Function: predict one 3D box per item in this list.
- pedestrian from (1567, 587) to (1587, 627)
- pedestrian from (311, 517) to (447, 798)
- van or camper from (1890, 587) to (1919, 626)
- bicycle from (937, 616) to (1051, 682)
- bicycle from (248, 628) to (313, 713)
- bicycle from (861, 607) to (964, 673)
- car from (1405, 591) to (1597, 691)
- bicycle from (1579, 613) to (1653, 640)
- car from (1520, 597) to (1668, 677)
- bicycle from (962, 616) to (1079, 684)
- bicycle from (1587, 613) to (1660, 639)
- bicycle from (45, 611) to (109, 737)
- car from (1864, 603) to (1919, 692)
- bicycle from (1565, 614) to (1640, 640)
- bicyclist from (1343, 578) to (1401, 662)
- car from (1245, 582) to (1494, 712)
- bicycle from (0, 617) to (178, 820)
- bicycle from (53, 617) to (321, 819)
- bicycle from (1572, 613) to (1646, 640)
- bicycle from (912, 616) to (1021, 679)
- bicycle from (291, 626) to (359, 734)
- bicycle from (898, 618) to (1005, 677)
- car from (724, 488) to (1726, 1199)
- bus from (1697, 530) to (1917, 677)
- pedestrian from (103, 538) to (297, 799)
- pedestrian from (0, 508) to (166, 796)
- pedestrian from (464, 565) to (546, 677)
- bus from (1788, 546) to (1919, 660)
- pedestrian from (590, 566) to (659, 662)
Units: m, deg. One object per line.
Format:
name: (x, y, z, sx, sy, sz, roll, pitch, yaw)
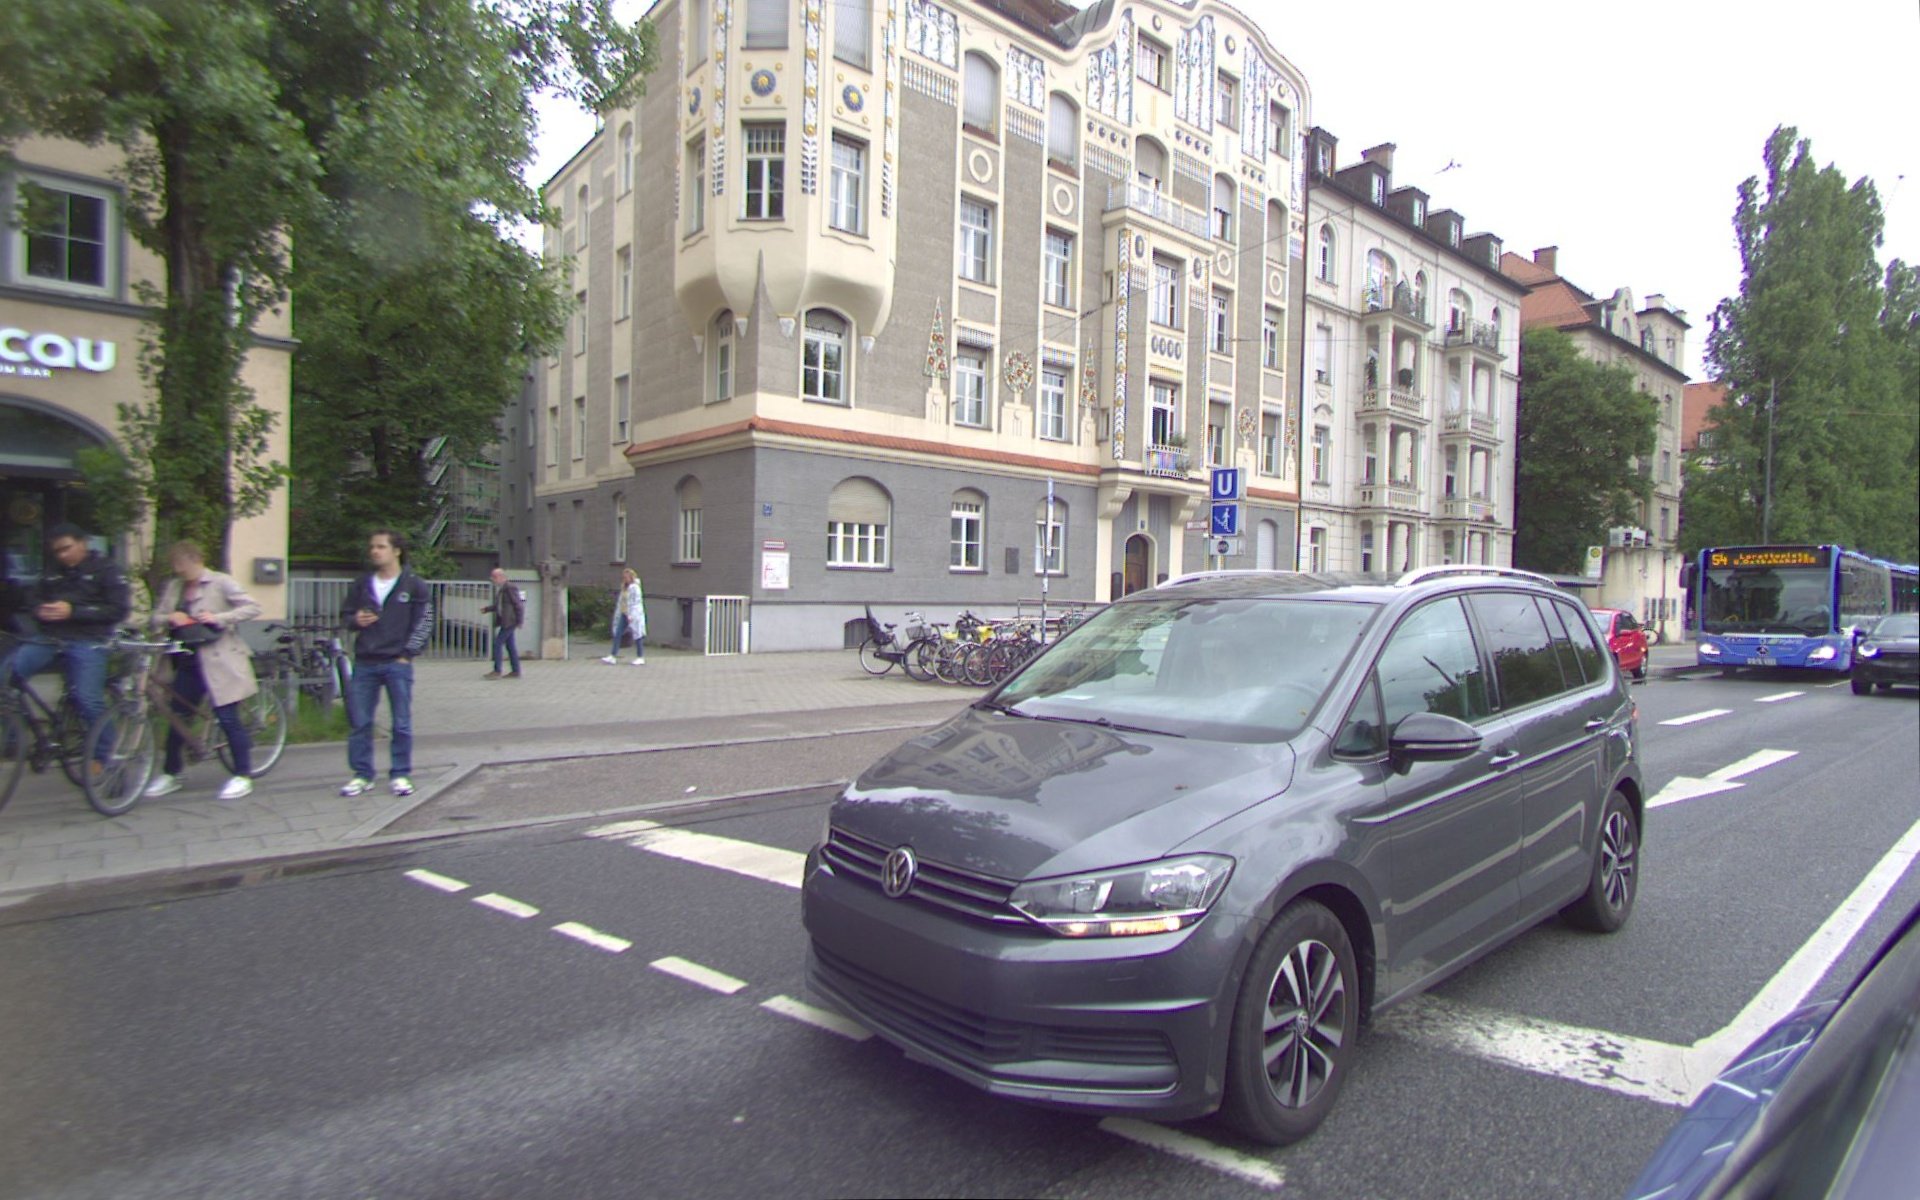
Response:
pedestrian: (29.697, 0.333, 48.689, 0.661, 1.919, 0.609, 1, 1, -38)
pedestrian: (-4.082, 0.373, 7.137, 0.741, 1.824, 0.883, 2, 0, -30)
van or camper: (54.539, 0.354, 57.394, 5.419, 2.125, 2.122, 0, 1, -42)
bicycle: (0.556, 0.789, 16.609, 1.801, 1.036, 0.447, 0, 0, -14)
bicycle: (-7.732, 0.771, 11.493, 0.385, 0.845, 1.574, 0, 1, -42)
bicycle: (-0.874, 0.726, 18.758, 1.855, 1.169, 0.464, 0, 0, 8)
car: (10.047, 0.685, 18.699, 3.895, 1.596, 1.730, 0, 2, -39)
bicycle: (25.263, 1.007, 39.008, 0.590, 0.933, 2.319, 0, 0, -43)
car: (13.723, 0.733, 21.829, 3.678, 1.527, 1.729, 0, 2, -42)
bicycle: (0.961, 0.786, 16.123, 1.801, 1.036, 0.447, 0, 0, -14)
bicycle: (25.941, 1.008, 39.585, 0.590, 0.933, 2.319, 0, 0, -43)
bicycle: (-8.339, 0.656, 9.583, 0.385, 1.063, 1.575, 0, 0, -39)
car: (18.053, 0.811, 18.511, 3.901, 1.523, 1.778, 0, -1, -41)
bicycle: (24.225, 1.005, 38.173, 0.590, 0.933, 2.319, 0, 0, -43)
bicyclist: (8.198, 0.378, 20.144, 0.923, 1.623, 0.681, 0, 1, -40)
car: (6.378, 0.608, 15.511, 4.424, 1.681, 1.736, 0, 2, -42)
bicycle: (-5.876, 0.713, 6.595, 0.352, 1.116, 1.747, 1, 1, -6)
bicycle: (-5.125, 0.711, 6.854, 0.353, 1.116, 1.743, 1, 1, 5)
bicycle: (24.694, 1.006, 38.562, 0.590, 0.933, 2.319, 0, 0, -43)
bicycle: (0.116, 0.793, 17.121, 1.801, 1.036, 0.393, 0, 0, -14)
bicycle: (-6.441, 0.764, 10.230, 0.385, 0.928, 1.838, 0, 1, -38)
bicycle: (-0.149, 0.808, 17.604, 1.801, 0.990, 0.393, 0, 0, -14)
car: (1.523, 0.566, 4.331, 4.624, 1.667, 1.775, 0, 2, -40)
bus: (20.984, 0.096, 24.820, 9.299, 3.012, 2.635, 0, -1, -41)
pedestrian: (-5.121, 0.434, 6.857, 0.743, 1.658, 0.700, 1, 0, 7)
pedestrian: (-5.884, 0.327, 6.728, 0.638, 1.803, 0.702, 1, 0, -7)
pedestrian: (-7.217, 0.307, 16.045, 0.999, 1.706, 0.747, 0, 1, -40)
bus: (27.663, 0.102, 30.582, 8.383, 3.012, 2.635, 0, -1, -41)
pedestrian: (-6.265, 0.248, 18.924, 0.999, 1.735, 0.747, 0, 1, -40)
